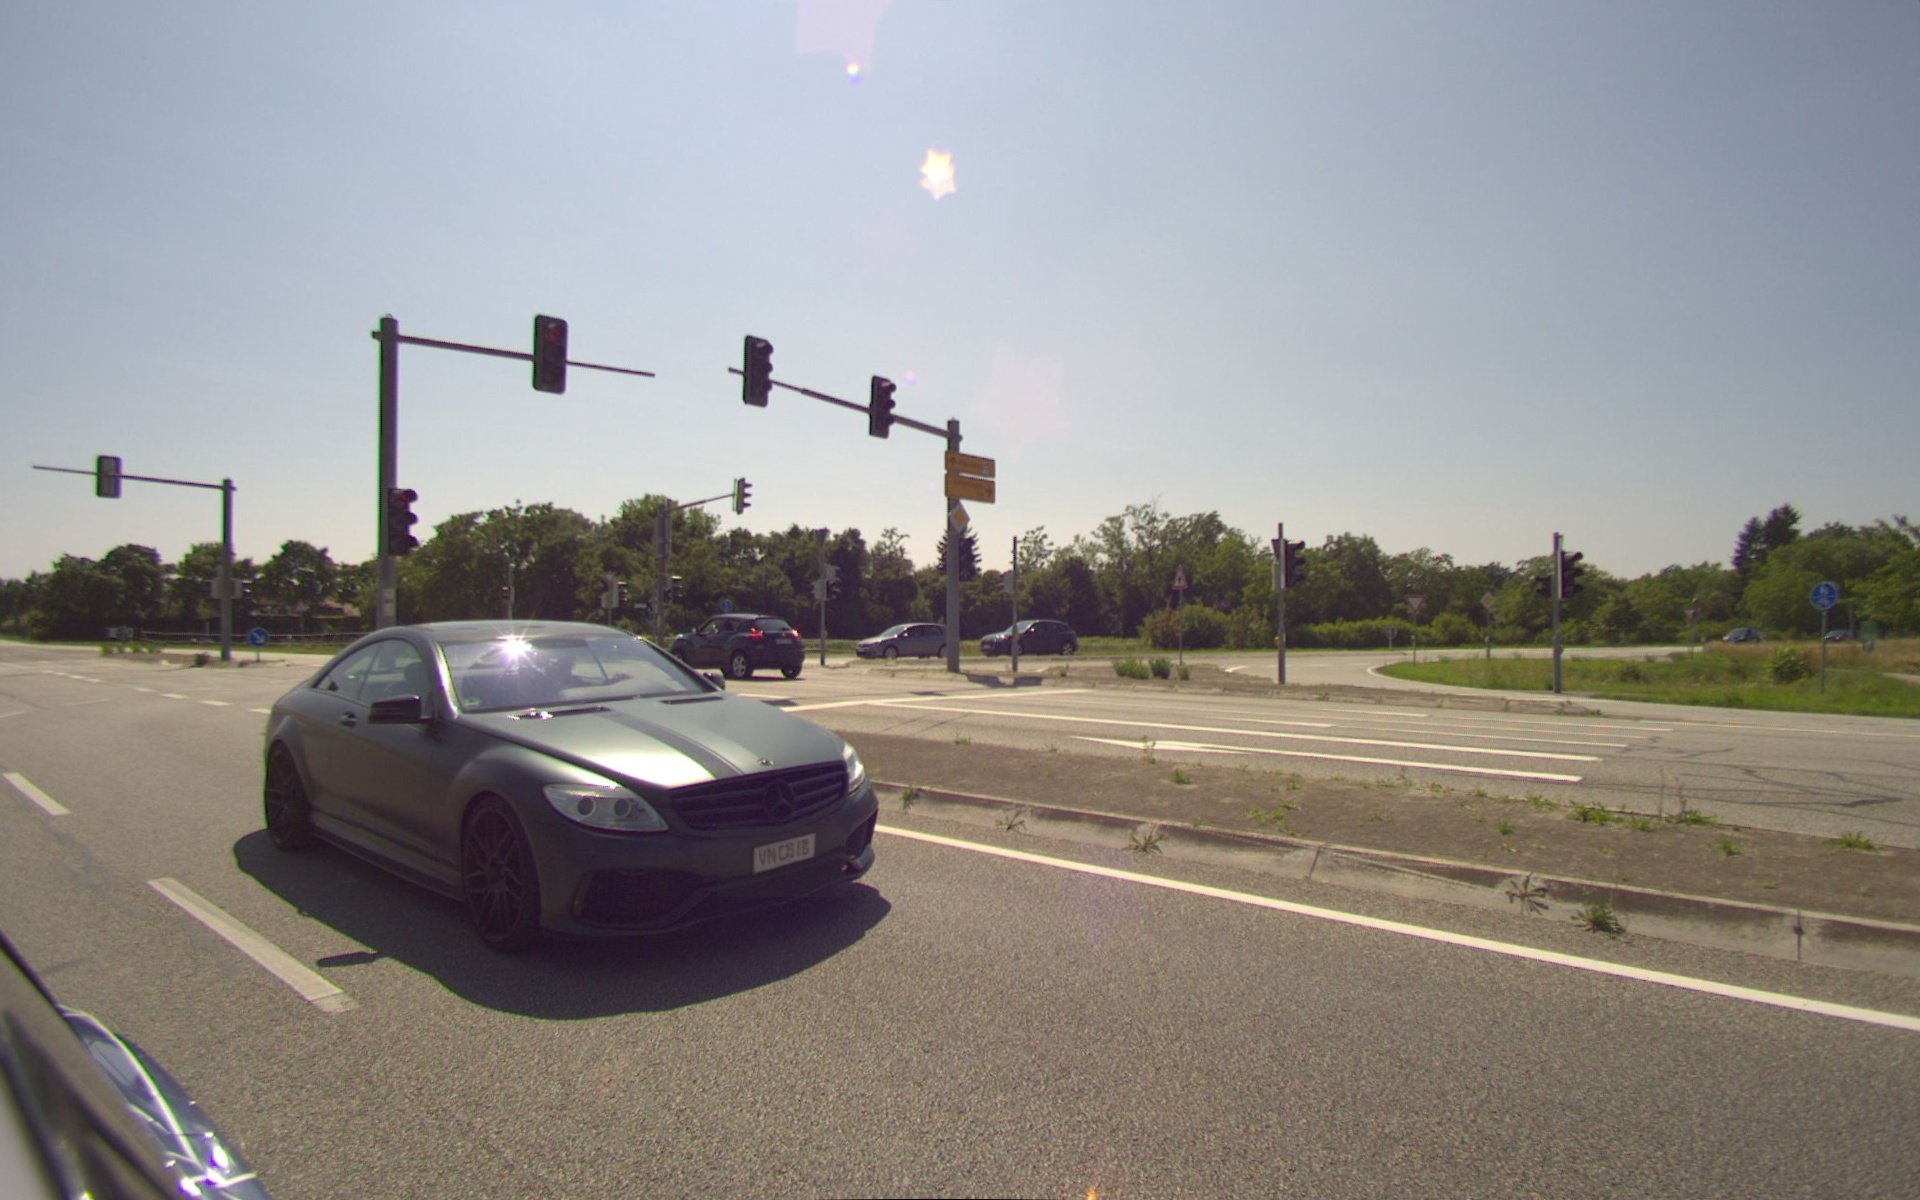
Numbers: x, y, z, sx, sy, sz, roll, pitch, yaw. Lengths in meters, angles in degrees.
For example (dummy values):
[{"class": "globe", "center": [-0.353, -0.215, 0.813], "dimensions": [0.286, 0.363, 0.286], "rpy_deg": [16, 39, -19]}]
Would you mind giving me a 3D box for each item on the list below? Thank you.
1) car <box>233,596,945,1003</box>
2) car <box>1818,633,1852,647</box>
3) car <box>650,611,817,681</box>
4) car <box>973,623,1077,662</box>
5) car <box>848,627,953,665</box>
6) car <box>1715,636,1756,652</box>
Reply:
[{"class": "car", "center": [-2.506, 0.775, 5.947], "dimensions": [4.874, 1.461, 1.792], "rpy_deg": [-2, -1, 41]}, {"class": "car", "center": [88.640, 4.026, 102.546], "dimensions": [3.710, 1.397, 1.504], "rpy_deg": [2, -3, -31]}, {"class": "car", "center": [-5.731, 1.122, 25.417], "dimensions": [4.301, 1.612, 1.812], "rpy_deg": [-1, -2, 39]}, {"class": "car", "center": [2.799, 1.831, 43.291], "dimensions": [4.295, 1.606, 1.640], "rpy_deg": [2, -3, -31]}, {"class": "car", "center": [-2.319, 1.804, 39.899], "dimensions": [3.815, 1.397, 1.639], "rpy_deg": [0, -2, -34]}, {"class": "car", "center": [66.016, 3.748, 86.190], "dimensions": [3.710, 1.397, 1.504], "rpy_deg": [2, -3, -31]}]
